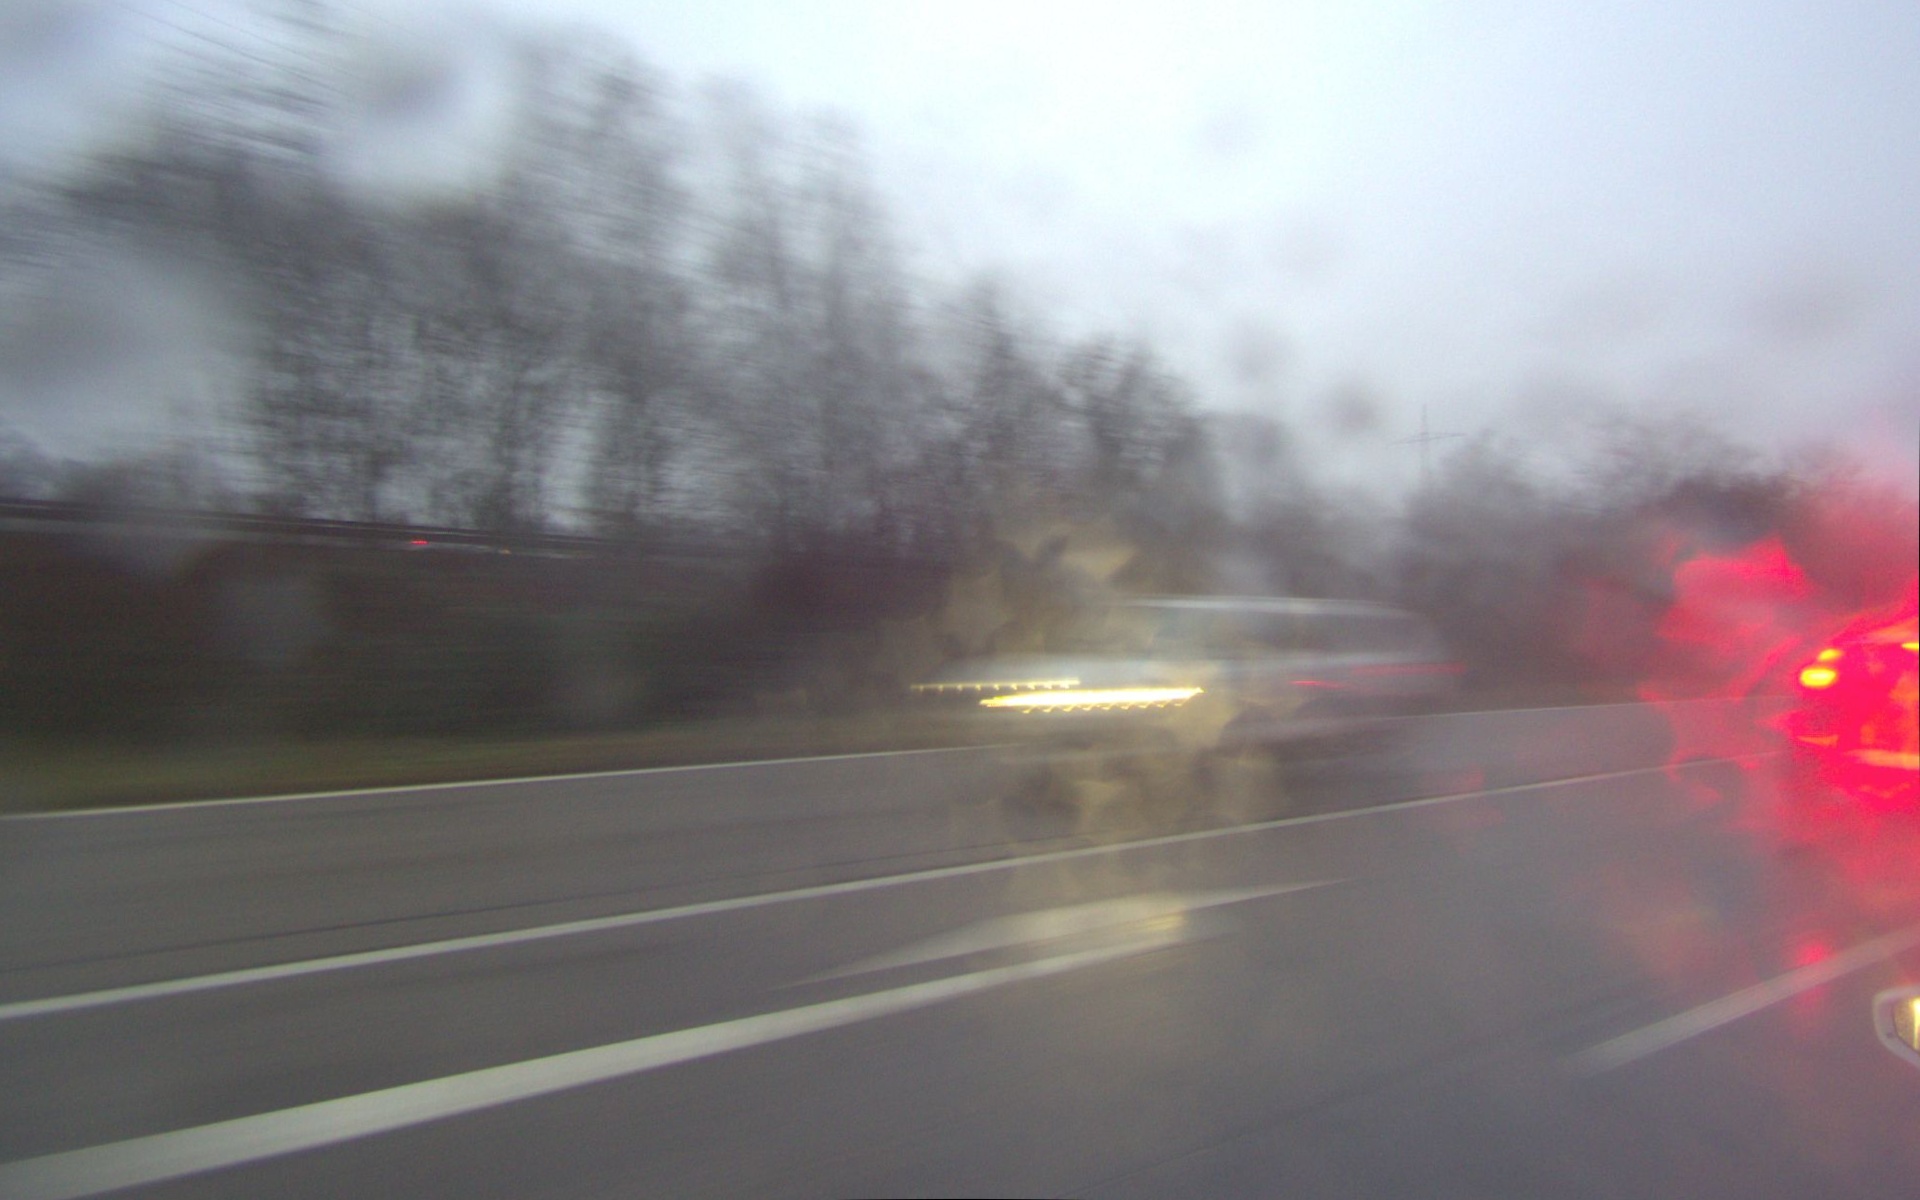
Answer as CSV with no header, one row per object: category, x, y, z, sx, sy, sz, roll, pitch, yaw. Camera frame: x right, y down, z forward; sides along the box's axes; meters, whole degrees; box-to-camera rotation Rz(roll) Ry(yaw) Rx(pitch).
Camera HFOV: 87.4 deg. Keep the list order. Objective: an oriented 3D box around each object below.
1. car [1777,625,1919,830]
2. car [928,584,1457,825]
car,8.591,0.969,8.361,4.127,1.440,1.622,1,0,-34
car,2.221,0.790,9.098,4.671,1.670,1.982,2,-1,-33
